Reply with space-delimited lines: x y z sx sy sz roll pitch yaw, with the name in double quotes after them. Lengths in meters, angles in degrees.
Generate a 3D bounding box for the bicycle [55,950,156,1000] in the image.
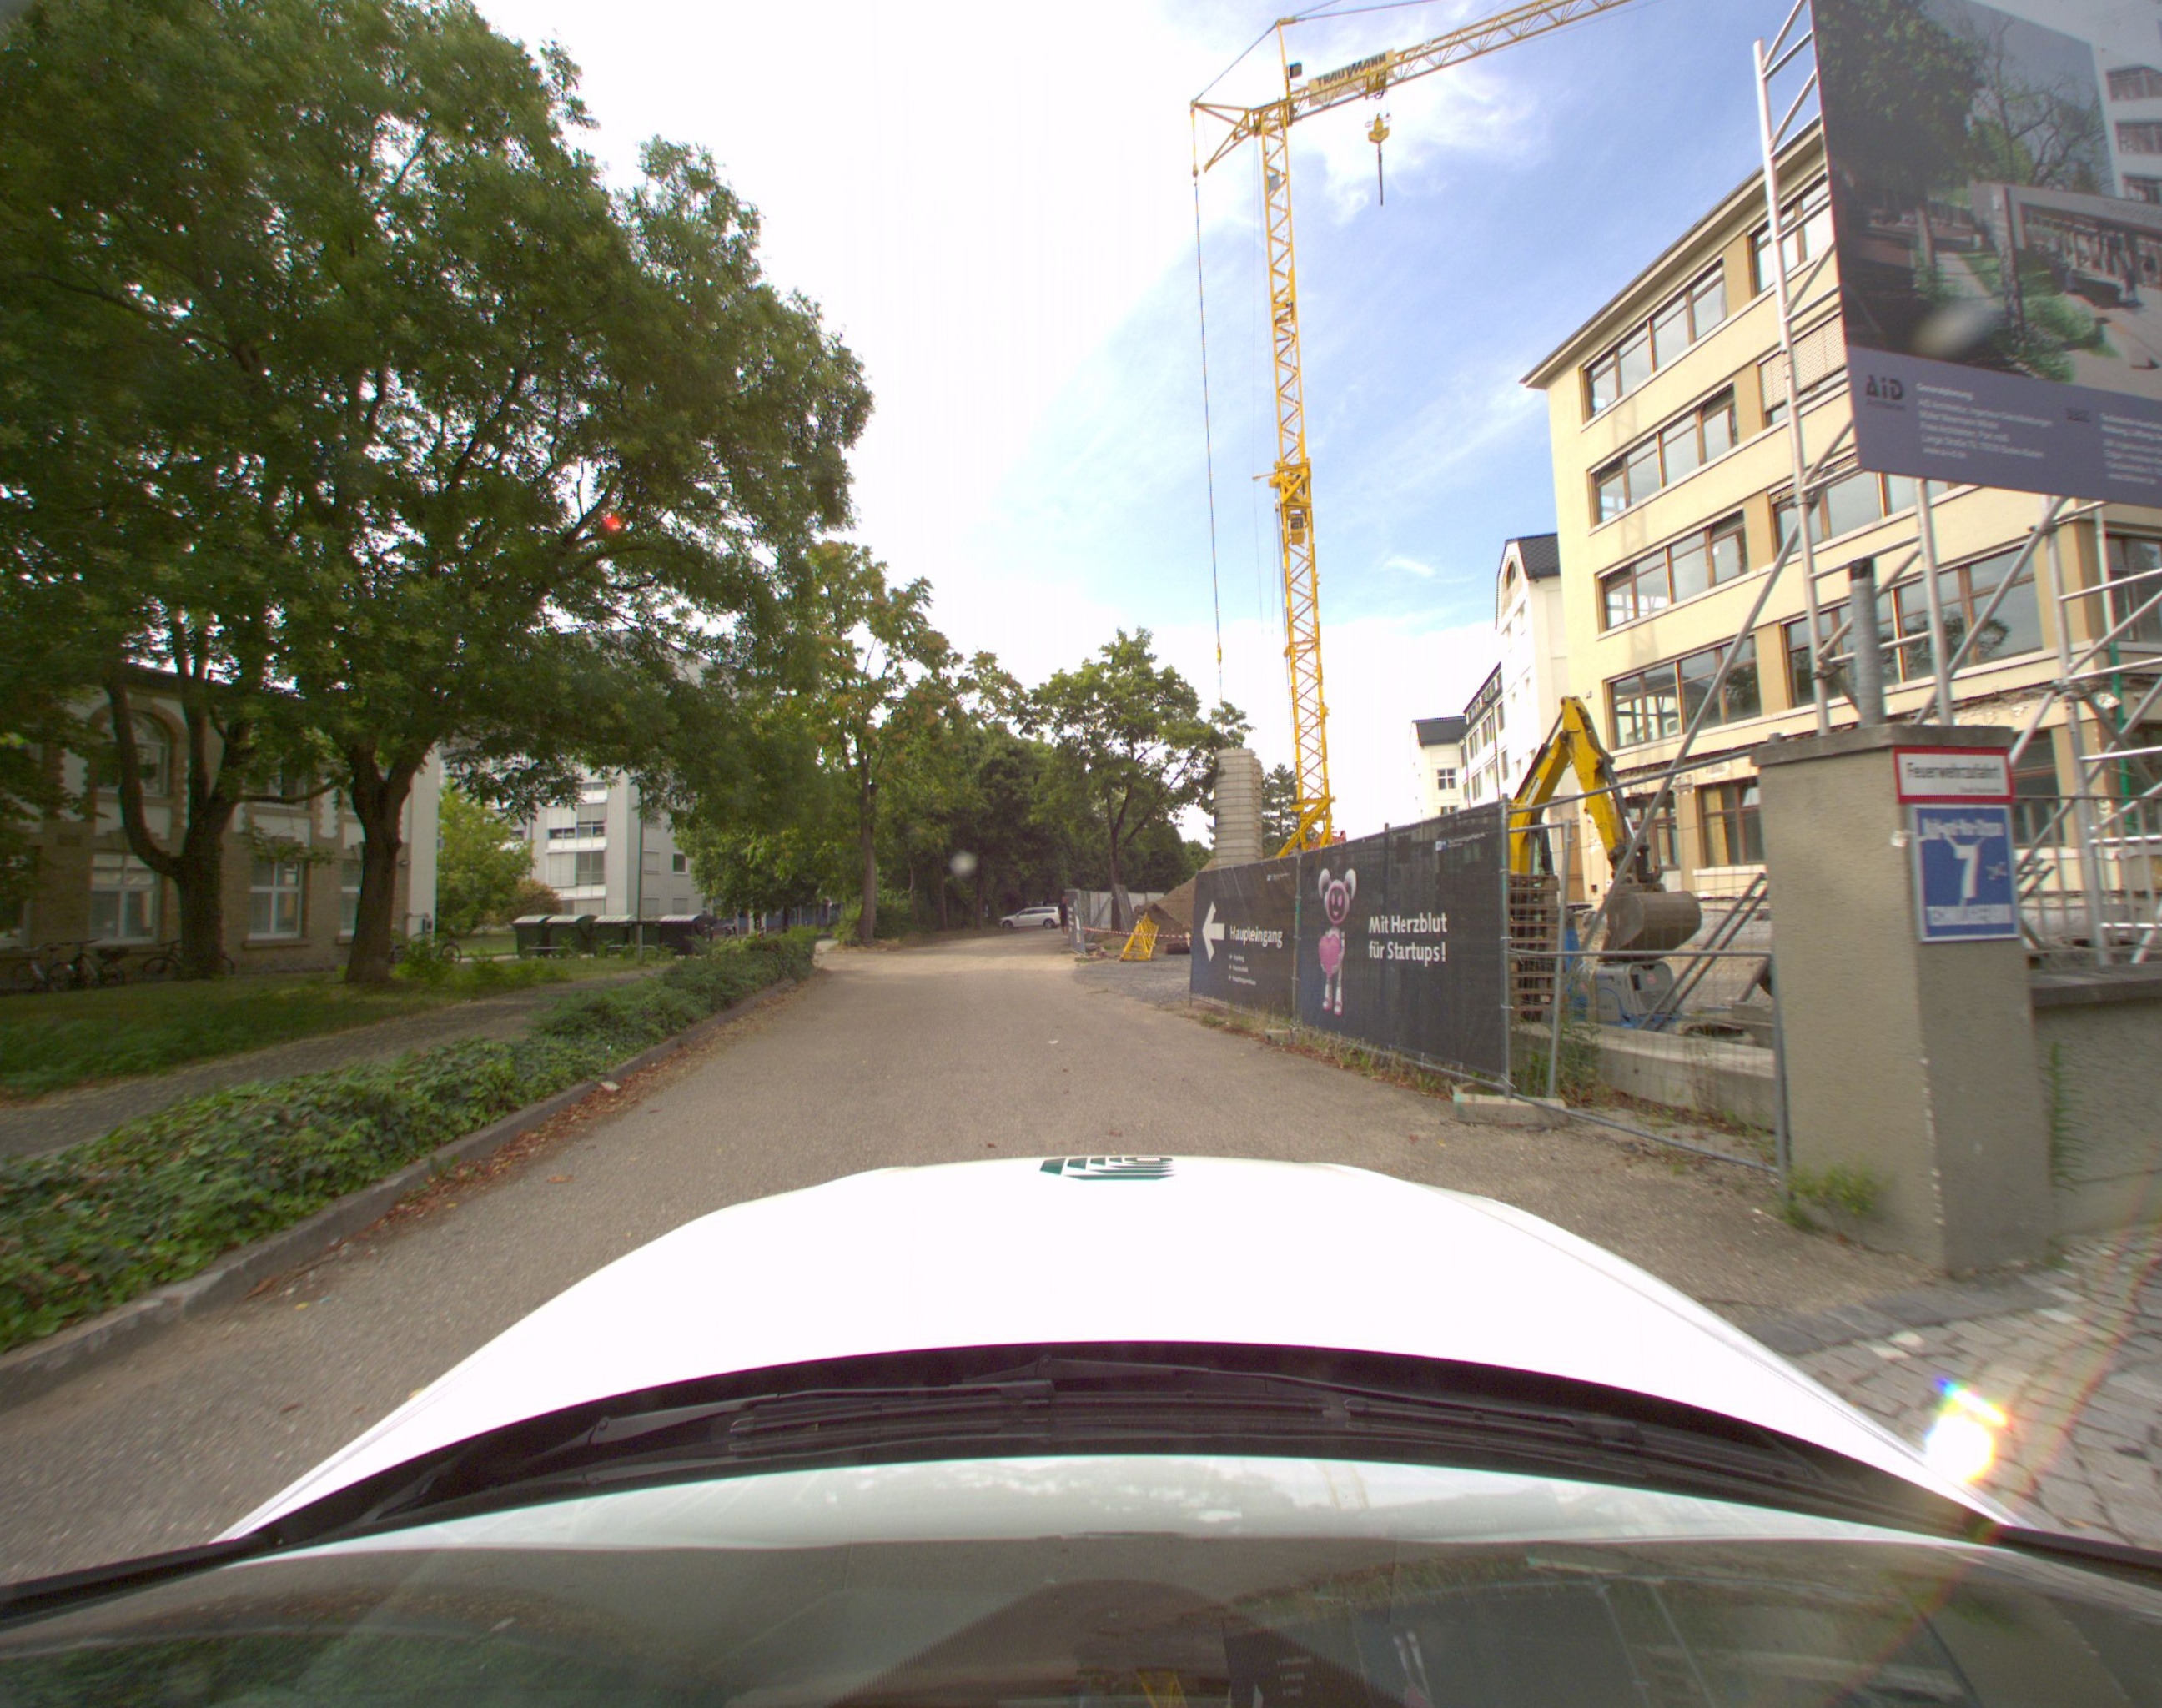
-22.089 2.741 18.451 1.958 1.044 0.596 -3 -4 12 "bicycle"

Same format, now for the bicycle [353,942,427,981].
-20.487 3.178 24.158 1.958 1.044 0.596 -3 -4 12 "bicycle"

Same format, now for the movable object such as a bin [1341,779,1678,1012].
5.127 0.540 10.356 2.483 2.444 3.057 -2 -4 -2 "movable object such as a bin"

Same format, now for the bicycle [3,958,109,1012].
-22.226 2.839 17.666 1.958 1.044 0.596 -3 -4 12 "bicycle"

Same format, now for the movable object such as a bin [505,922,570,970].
-17.174 2.904 25.753 1.270 1.431 1.126 -3 -4 15 "movable object such as a bin"

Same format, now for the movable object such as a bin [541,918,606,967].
-15.843 2.745 25.432 1.270 1.431 1.126 -3 -4 15 "movable object such as a bin"

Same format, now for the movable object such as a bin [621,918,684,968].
-12.987 2.686 24.714 1.270 1.431 1.126 -3 -4 15 "movable object such as a bin"

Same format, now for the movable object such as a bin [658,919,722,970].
-11.566 2.667 24.117 1.270 1.431 1.126 -3 -4 15 "movable object such as a bin"

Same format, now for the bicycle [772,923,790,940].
-22.606 5.852 61.398 0.647 1.182 1.900 -2 -4 2 "bicycle"

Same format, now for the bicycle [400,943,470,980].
-20.202 3.355 25.484 1.958 1.044 0.596 -3 -4 12 "bicycle"

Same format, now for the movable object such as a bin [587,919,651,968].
-14.260 2.762 25.166 1.270 1.431 1.126 -3 -4 15 "movable object such as a bin"

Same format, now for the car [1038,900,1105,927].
-0.744 4.799 65.286 5.010 1.954 2.007 -3 -4 13 "car"

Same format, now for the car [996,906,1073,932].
-3.061 4.317 54.103 4.764 1.489 2.004 -3 -4 9 "car"

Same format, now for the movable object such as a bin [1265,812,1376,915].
17.618 0.865 59.148 3.806 6.671 11.056 -5 -5 37 "movable object such as a bin"

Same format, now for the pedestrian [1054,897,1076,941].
-0.694 2.749 34.580 0.743 1.790 0.732 -3 -4 10 "pedestrian"

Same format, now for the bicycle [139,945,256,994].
-21.957 2.860 20.275 1.972 1.044 0.592 -2 -4 -11 "bicycle"
